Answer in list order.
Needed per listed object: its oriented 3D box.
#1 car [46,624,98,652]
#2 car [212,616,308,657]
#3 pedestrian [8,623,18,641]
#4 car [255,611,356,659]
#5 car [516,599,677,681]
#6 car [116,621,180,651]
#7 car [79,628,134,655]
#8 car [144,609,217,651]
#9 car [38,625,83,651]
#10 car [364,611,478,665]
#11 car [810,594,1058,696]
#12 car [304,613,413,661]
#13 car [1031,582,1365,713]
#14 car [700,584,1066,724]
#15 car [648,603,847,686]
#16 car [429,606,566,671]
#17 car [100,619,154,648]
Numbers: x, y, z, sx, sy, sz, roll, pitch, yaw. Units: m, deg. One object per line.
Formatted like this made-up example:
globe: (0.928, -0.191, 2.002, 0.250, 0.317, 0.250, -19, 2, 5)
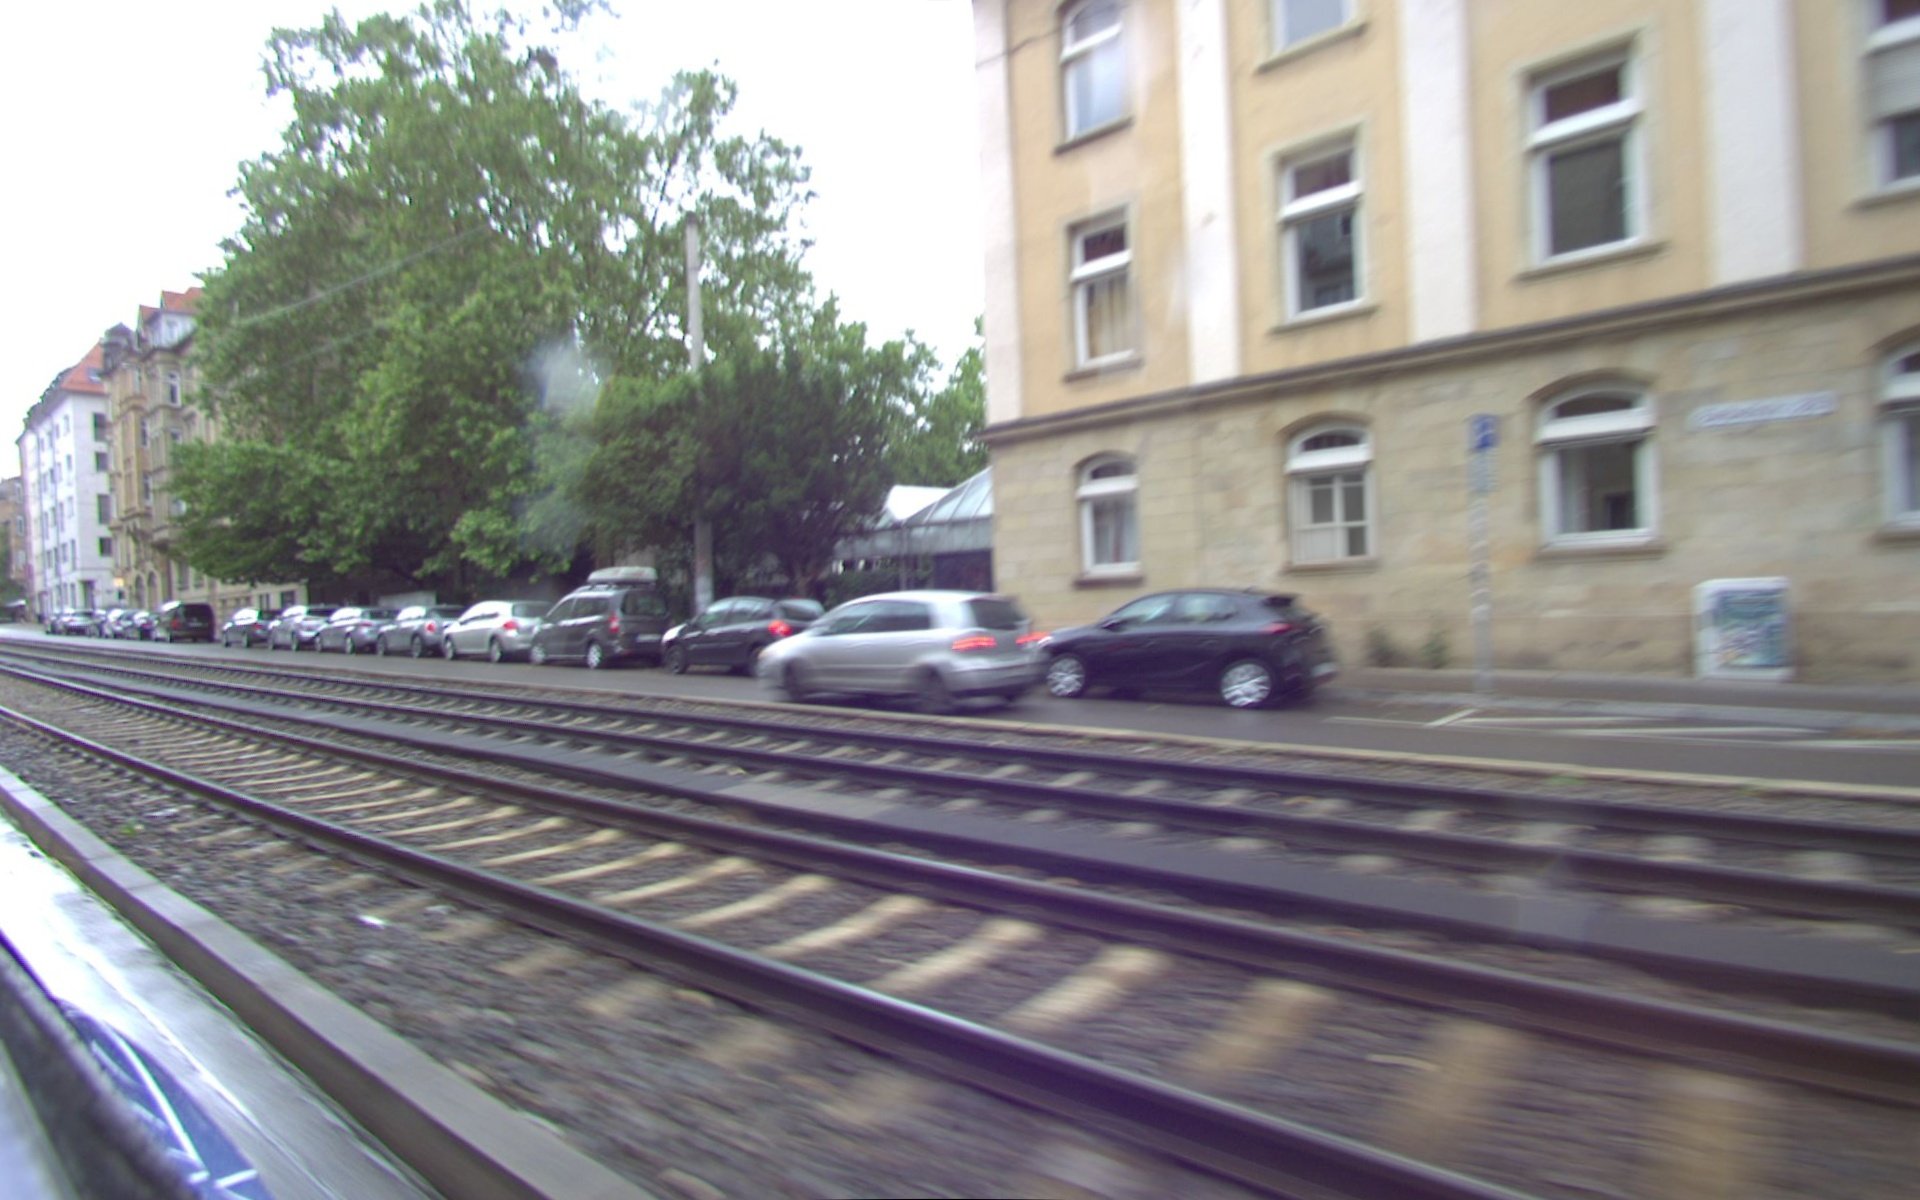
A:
car: (-57.130, 2.418, 65.076, 4.311, 1.665, 1.840, -2, 0, 40)
car: (-26.823, 1.371, 38.709, 4.545, 1.475, 1.831, -2, -2, 39)
pedestrian: (-93.873, 3.146, 100.342, 0.658, 1.731, 0.595, -2, 2, 43)
car: (-22.871, 1.214, 35.306, 4.540, 1.548, 1.736, -2, -2, 41)
car: (-8.160, 0.872, 22.561, 4.068, 1.655, 1.560, -2, -2, 40)
car: (-41.294, 1.815, 51.416, 4.266, 1.409, 1.744, -2, -2, 40)
car: (-49.640, 2.389, 58.850, 4.167, 1.519, 1.851, -2, -1, 41)
car: (-36.212, 1.384, 46.960, 4.815, 1.861, 1.782, -2, -2, 41)
car: (-60.714, 2.549, 68.269, 4.429, 1.614, 1.838, -2, -1, 43)
car: (-15.386, 1.072, 28.817, 3.950, 1.424, 1.523, -2, -2, 40)
car: (-0.510, 0.677, 15.897, 3.986, 1.401, 1.484, -2, -2, 42)
car: (-19.095, 1.168, 32.067, 4.150, 1.424, 1.736, -2, -2, 40)
car: (2.946, 0.577, 12.973, 3.849, 1.440, 1.598, -2, -1, 41)
car: (-1.106, 0.632, 13.074, 4.623, 1.516, 1.801, -2, 0, 35)
car: (-4.093, 0.813, 19.154, 4.009, 1.424, 1.657, -2, -2, 42)
car: (-11.763, 0.956, 25.624, 4.151, 1.517, 1.523, -2, -2, 40)
car: (-45.500, 1.822, 55.262, 3.853, 1.535, 1.677, -2, -1, 41)
